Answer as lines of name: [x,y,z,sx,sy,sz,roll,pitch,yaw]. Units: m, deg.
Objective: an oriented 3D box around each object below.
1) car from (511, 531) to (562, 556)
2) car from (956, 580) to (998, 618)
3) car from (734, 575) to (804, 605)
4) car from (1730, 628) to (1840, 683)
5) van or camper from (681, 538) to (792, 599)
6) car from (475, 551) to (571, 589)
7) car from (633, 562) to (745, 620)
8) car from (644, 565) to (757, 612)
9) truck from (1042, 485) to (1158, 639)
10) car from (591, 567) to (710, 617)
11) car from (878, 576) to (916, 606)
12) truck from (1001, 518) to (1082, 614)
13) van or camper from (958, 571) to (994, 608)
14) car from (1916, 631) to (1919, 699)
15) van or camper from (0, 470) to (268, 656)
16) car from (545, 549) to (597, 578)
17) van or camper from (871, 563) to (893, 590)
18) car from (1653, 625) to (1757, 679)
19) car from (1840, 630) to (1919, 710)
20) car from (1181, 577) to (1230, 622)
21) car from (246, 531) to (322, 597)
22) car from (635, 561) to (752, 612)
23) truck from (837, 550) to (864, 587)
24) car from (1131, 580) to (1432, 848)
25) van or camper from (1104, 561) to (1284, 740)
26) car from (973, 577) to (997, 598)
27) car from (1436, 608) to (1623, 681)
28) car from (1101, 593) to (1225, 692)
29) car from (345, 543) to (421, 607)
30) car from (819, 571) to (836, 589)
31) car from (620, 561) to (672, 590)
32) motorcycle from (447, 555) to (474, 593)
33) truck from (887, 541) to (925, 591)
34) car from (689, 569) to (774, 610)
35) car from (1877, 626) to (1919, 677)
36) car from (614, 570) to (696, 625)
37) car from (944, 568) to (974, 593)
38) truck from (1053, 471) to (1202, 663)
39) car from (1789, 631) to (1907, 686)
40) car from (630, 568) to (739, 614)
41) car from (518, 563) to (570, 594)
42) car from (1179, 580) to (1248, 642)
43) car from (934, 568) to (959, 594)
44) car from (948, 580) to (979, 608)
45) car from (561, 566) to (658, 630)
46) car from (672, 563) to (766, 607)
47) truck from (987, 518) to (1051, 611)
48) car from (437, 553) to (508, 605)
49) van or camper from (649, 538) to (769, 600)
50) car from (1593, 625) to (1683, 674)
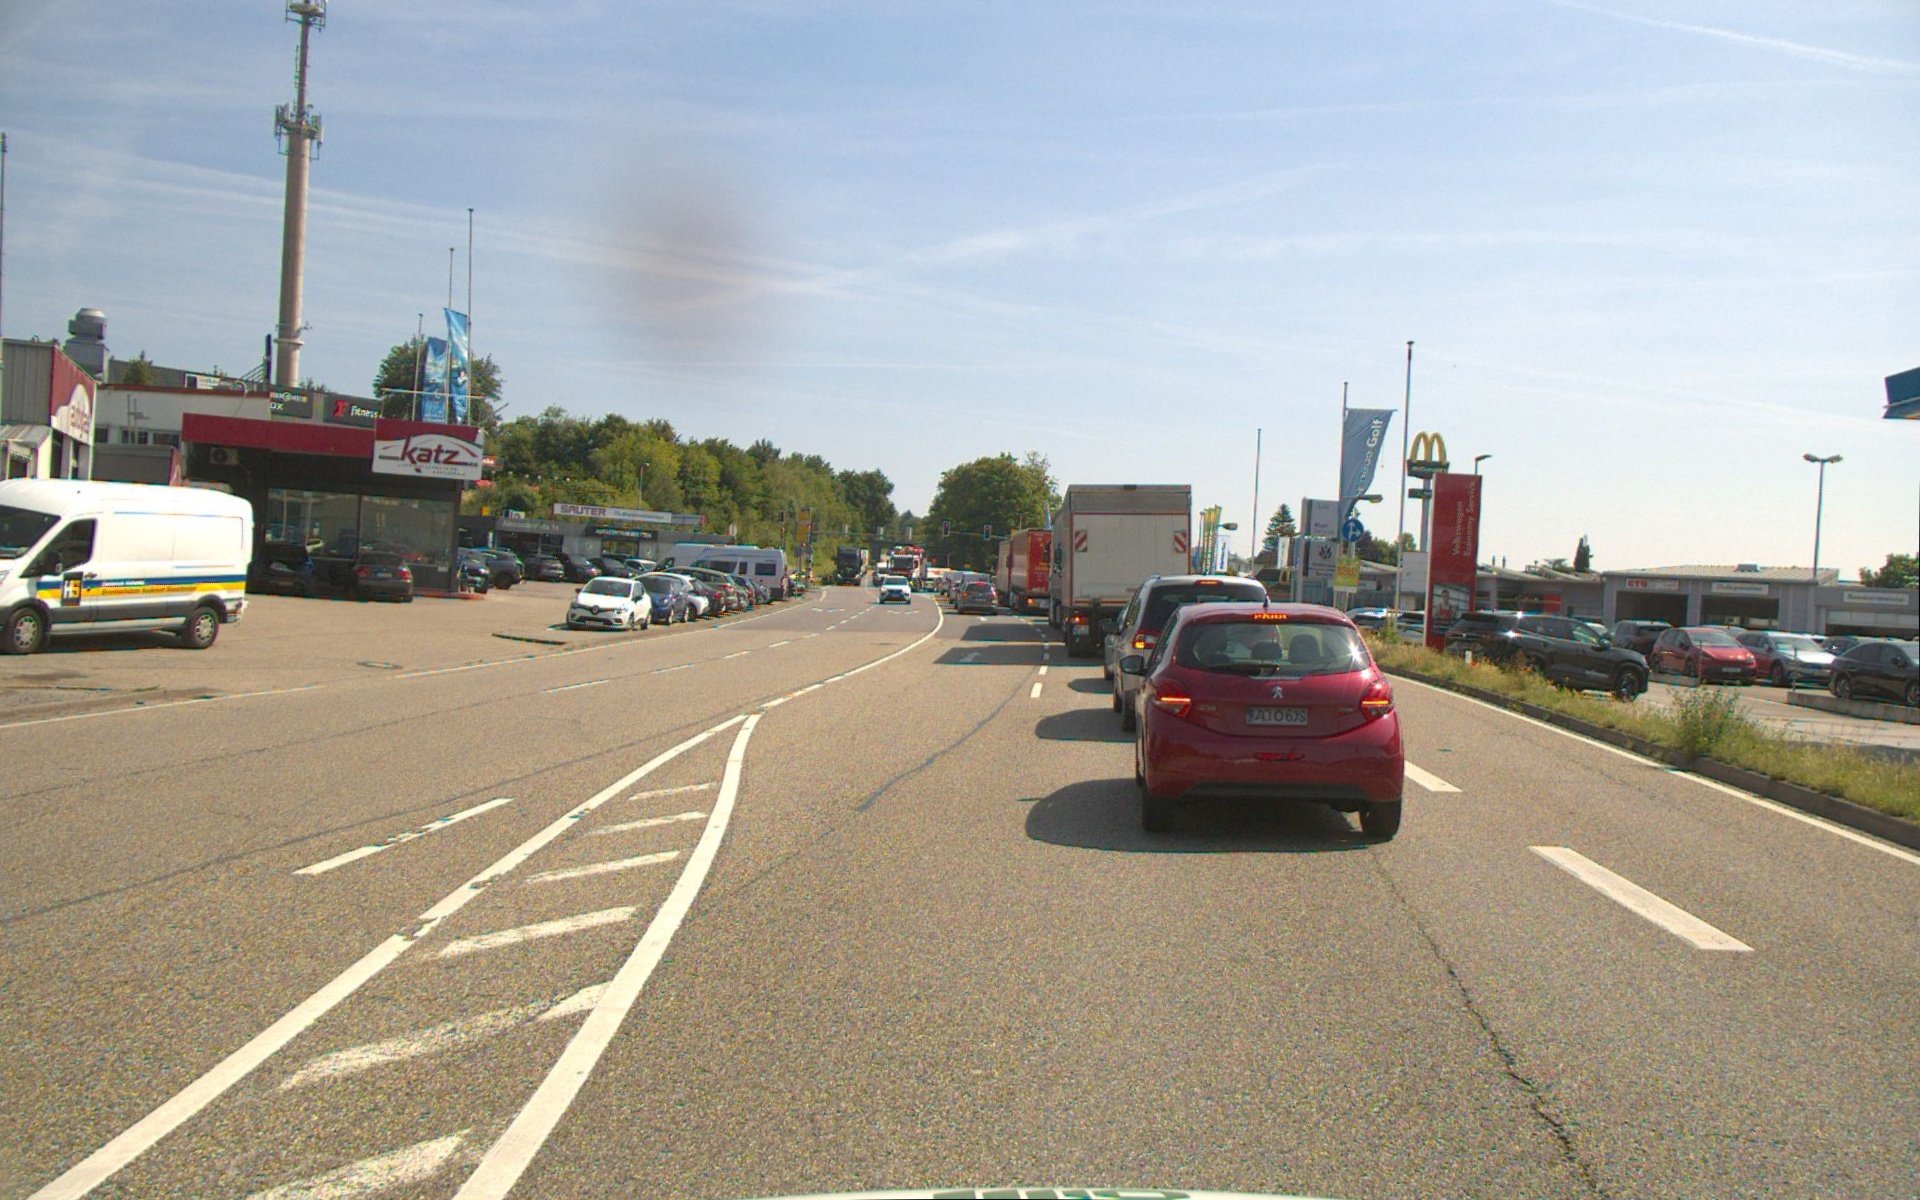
car: [-27.512,-3.672,107.449,1.721,1.476,3.693,3,0,-41]
car: [0.806,-0.065,75.217,1.753,1.667,3.505,2,1,2]
car: [-10.679,-0.567,92.667,3.740,1.566,1.842,2,1,-2]
car: [23.949,1.587,48.140,1.526,1.434,3.597,1,0,2]
van or camper: [-11.133,-1.569,82.721,5.138,2.779,2.211,2,1,0]
car: [-19.490,-1.335,73.717,3.886,1.559,1.756,1,1,-24]
car: [-10.108,-0.344,61.953,3.810,1.746,1.806,6,1,-3]
car: [-10.843,-0.494,69.202,4.371,1.510,1.771,6,1,-3]
truck: [4.438,-1.194,55.891,2.830,4.340,16.713,2,1,2]
car: [-10.613,-0.286,56.926,3.720,1.552,1.846,2,1,-3]
car: [-3.642,-0.533,95.728,1.895,1.703,4.001,0,1,2]
truck: [4.000,-1.712,84.937,2.897,4.343,16.582,2,1,-1]
van or camper: [0.870,-0.607,91.330,1.815,1.939,3.784,3,1,-2]
car: [23.646,1.572,37.759,1.526,1.622,3.862,1,0,2]
van or camper: [-13.625,-0.598,25.512,2.109,2.541,5.954,6,1,14]
car: [-22.810,-2.142,96.794,1.748,1.616,3.785,1,1,-34]
van or camper: [-8.125,-2.444,172.042,2.129,2.595,4.170,3,1,-2]
car: [21.799,1.502,48.543,1.526,1.434,3.597,1,0,2]
car: [21.358,1.547,36.836,1.580,1.622,3.862,1,0,2]
car: [10.465,-0.016,70.775,1.951,1.780,4.003,3,0,7]
car: [-19.636,-1.061,47.988,1.829,1.530,3.973,6,1,-24]
car: [-10.408,-0.541,64.784,4.193,1.510,1.835,6,1,-3]
truck: [-11.582,-3.324,174.242,2.758,3.852,6.983,1,1,-5]
car: [2.143,0.677,11.931,1.763,1.599,3.716,1,0,5]
van or camper: [2.692,0.513,20.024,1.710,1.818,5.136,3,1,4]
car: [2.003,-0.961,130.967,1.692,1.545,3.311,3,0,-1]
car: [11.815,0.909,34.304,3.533,1.434,1.553,1,0,-22]
car: [3.337,0.655,27.831,1.699,1.453,4.226,3,1,3]
car: [-17.272,-0.769,49.383,1.828,1.530,4.368,5,2,-23]
car: [-16.377,-2.455,204.003,1.955,2.049,3.995,3,0,-6]
car: [-18.968,-1.476,99.865,1.748,1.616,3.785,1,1,-34]
motorcycle: [-17.604,-0.931,58.273,0.759,1.283,2.042,1,1,-21]
truck: [-4.744,-3.012,147.158,2.895,4.282,10.648,0,1,0]
car: [-10.601,-0.503,76.893,3.635,1.510,1.707,6,1,-3]
car: [29.108,1.545,49.338,1.526,1.434,3.690,1,0,2]
car: [-9.851,-0.091,53.608,1.743,1.519,3.782,6,1,1]
car: [-0.033,-1.264,109.338,1.691,1.545,3.314,3,0,4]
truck: [3.772,-0.740,39.786,2.819,3.877,11.146,2,1,2]
car: [25.685,1.672,47.982,1.526,1.434,3.596,1,0,1]
car: [-9.849,-0.330,59.313,3.633,1.552,1.791,1,1,-3]
car: [-23.872,-1.241,94.834,1.748,1.616,3.785,1,1,-34]
car: [7.872,0.335,51.647,1.951,1.780,4.003,3,0,7]
car: [-1.070,-1.495,132.011,1.691,1.942,3.313,3,0,2]
car: [0.205,-0.358,99.868,1.692,1.545,3.311,3,0,-2]
car: [-9.810,-0.086,46.615,1.742,1.646,4.001,3,1,1]
car: [-10.465,-0.645,72.028,3.769,1.510,1.801,6,1,-3]
truck: [3.604,-2.244,105.761,3.000,5.311,17.005,2,1,-1]
car: [-18.466,-0.795,62.601,1.799,1.703,4.094,8,-3,-25]
van or camper: [-12.873,-1.595,85.116,5.772,2.923,2.289,2,1,-1]
car: [21.883,1.563,53.514,1.526,1.434,3.597,1,0,2]
